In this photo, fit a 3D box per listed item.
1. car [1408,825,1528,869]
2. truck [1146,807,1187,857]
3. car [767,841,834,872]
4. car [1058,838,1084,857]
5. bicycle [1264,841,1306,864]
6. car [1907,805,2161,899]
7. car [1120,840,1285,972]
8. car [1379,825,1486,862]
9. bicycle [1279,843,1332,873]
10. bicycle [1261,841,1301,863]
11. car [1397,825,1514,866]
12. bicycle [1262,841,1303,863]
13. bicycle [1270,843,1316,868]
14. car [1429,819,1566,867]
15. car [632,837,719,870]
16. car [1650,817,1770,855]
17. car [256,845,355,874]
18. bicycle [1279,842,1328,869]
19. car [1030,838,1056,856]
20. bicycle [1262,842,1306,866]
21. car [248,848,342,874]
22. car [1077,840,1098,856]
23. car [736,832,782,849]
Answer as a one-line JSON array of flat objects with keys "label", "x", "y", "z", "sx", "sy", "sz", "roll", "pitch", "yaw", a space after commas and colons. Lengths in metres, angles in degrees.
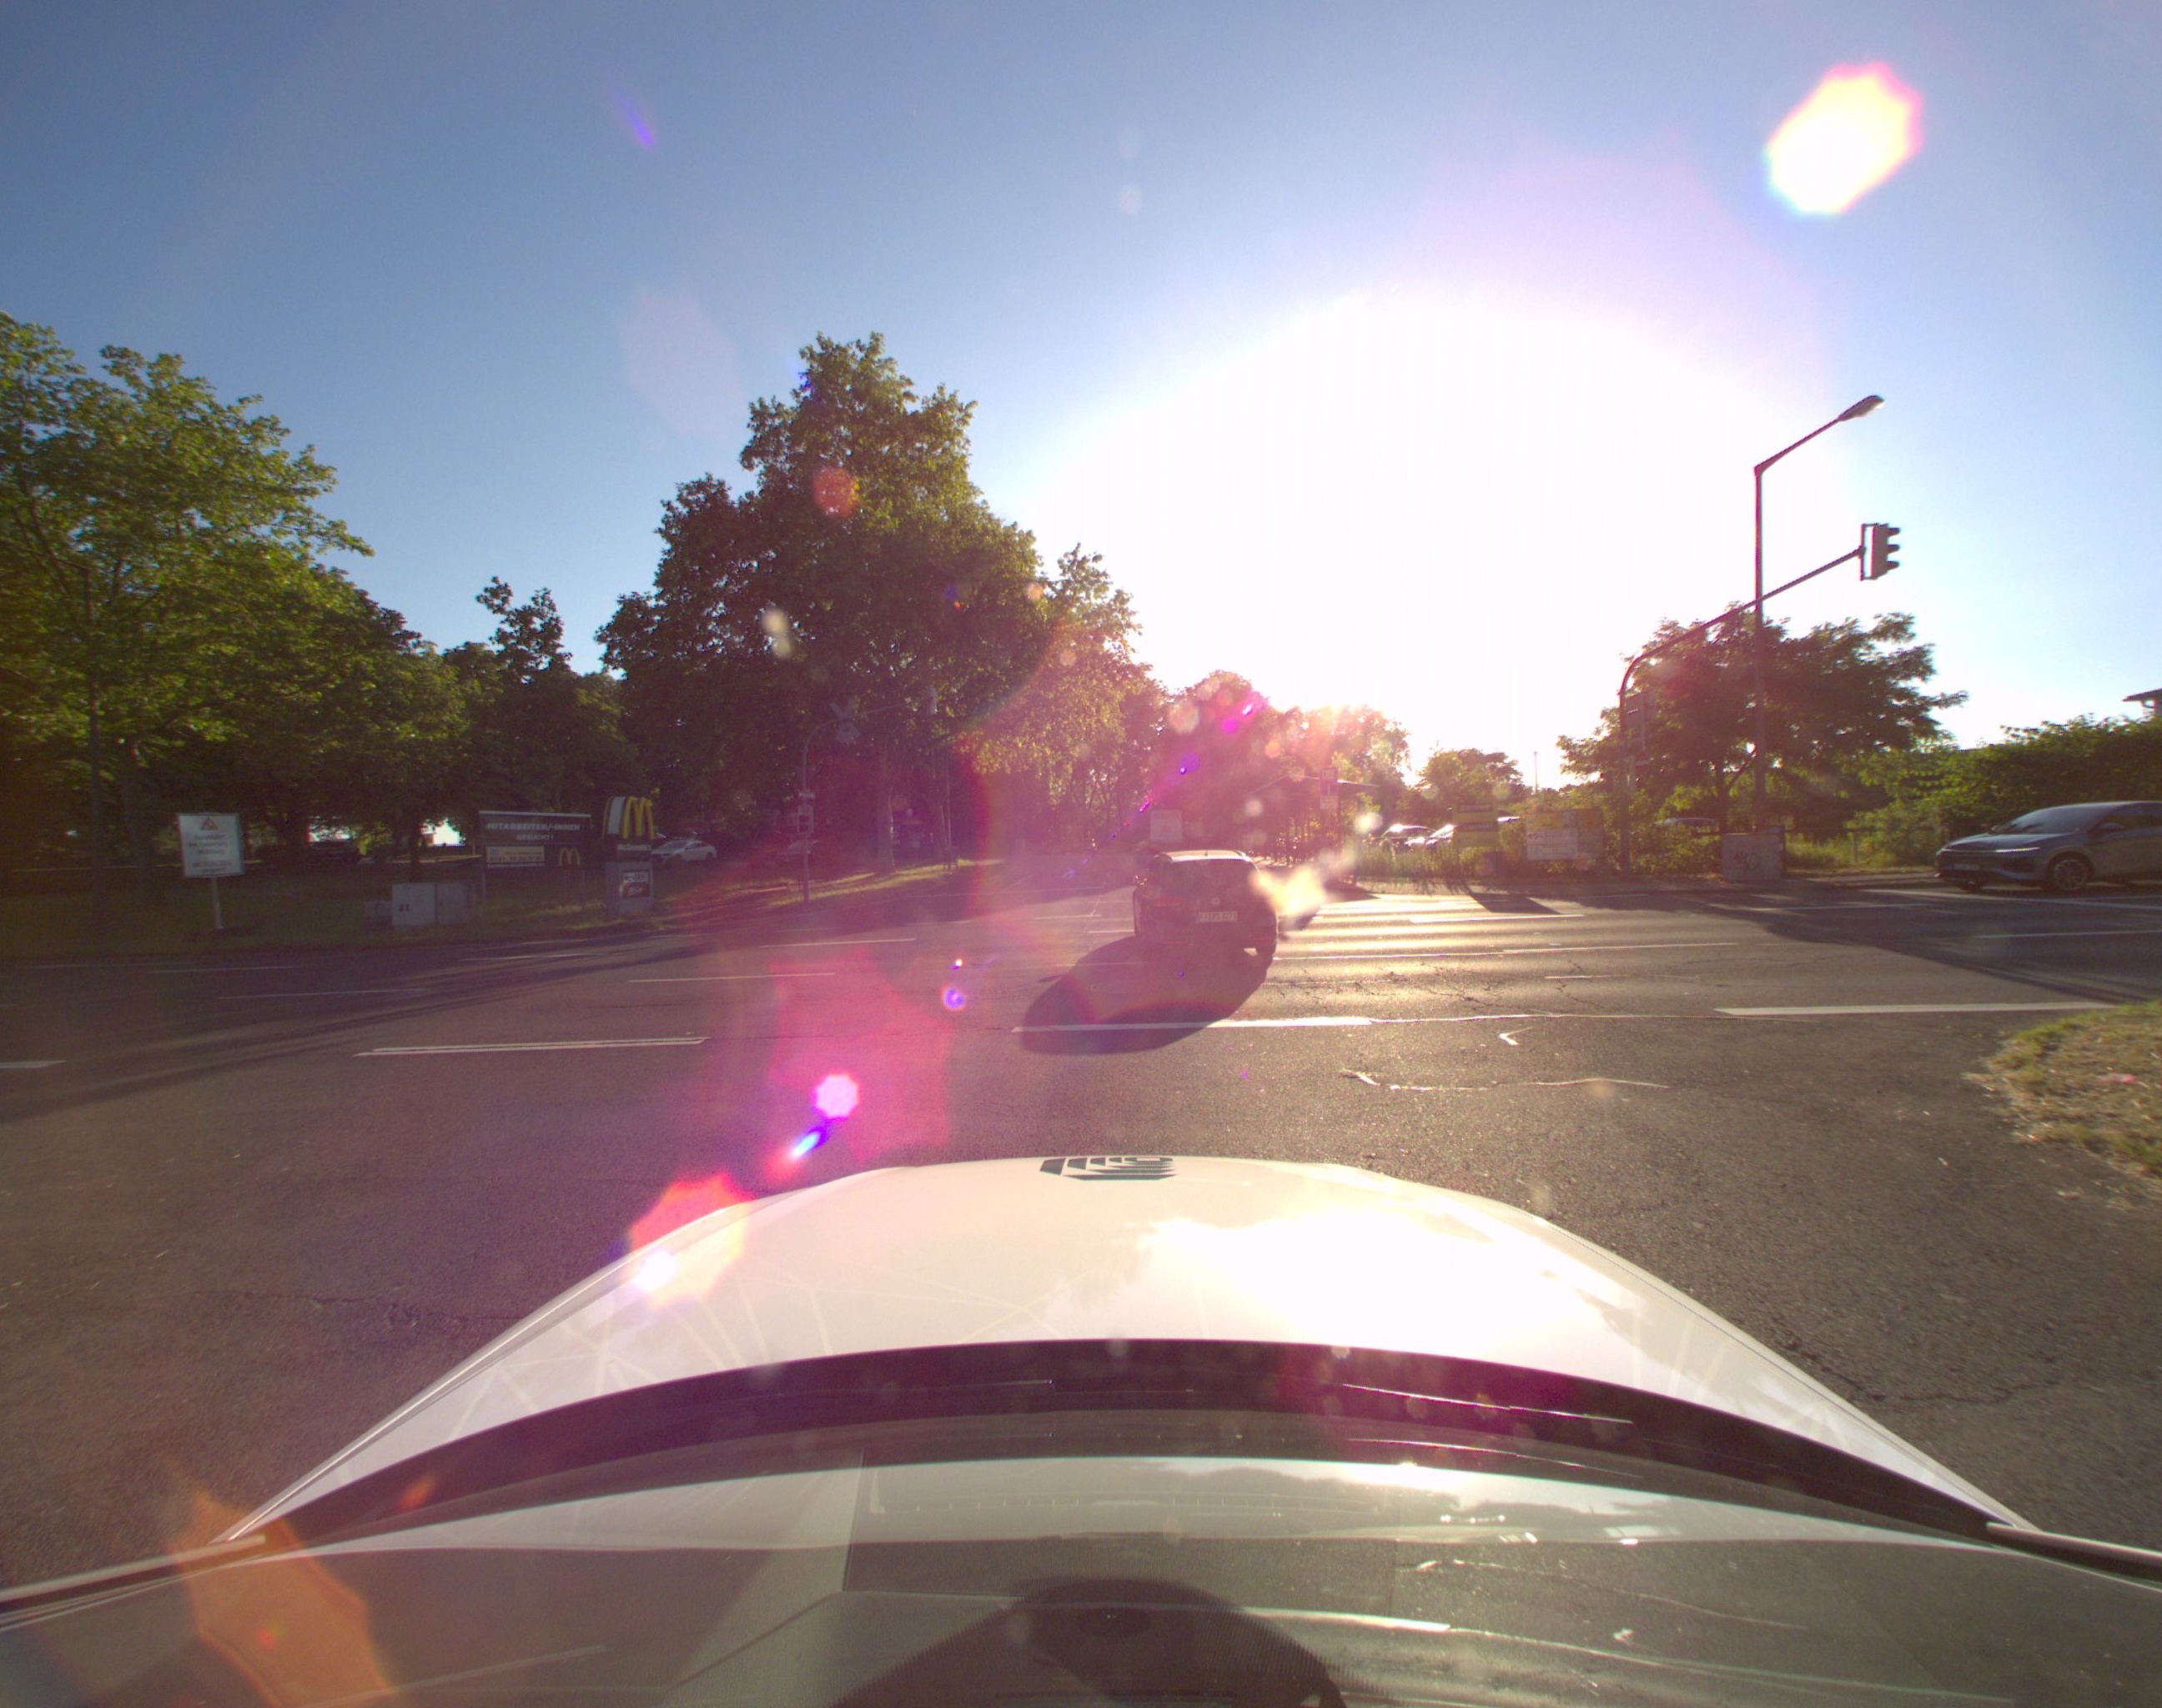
[{"label": "car", "x": 15.919, "y": -0.311, "z": 33.664, "sx": 3.971, "sy": 1.648, "sz": 2.122, "roll": -2, "pitch": 1, "yaw": 2}, {"label": "truck", "x": 7.385, "y": -1.894, "z": 69.806, "sx": 3.168, "sy": 3.875, "sz": 11.121, "roll": -2, "pitch": 1, "yaw": 7}, {"label": "car", "x": -16.038, "y": 0.113, "z": 46.815, "sx": 2.028, "sy": 1.574, "sz": 4.408, "roll": -2, "pitch": 1, "yaw": 4}, {"label": "car", "x": -0.866, "y": -0.605, "z": 73.691, "sx": 1.837, "sy": 1.552, "sz": 4.006, "roll": -2, "pitch": 1, "yaw": 5}, {"label": "bicycle", "x": 9.784, "y": -0.088, "z": 39.060, "sx": 1.877, "sy": 1.038, "sz": 0.545, "roll": -2, "pitch": 1, "yaw": 8}, {"label": "car", "x": 19.242, "y": -0.084, "z": 15.750, "sx": 4.514, "sy": 1.618, "sz": 1.878, "roll": -2, "pitch": 1, "yaw": 2}, {"label": "car", "x": 1.603, "y": 0.604, "z": 12.174, "sx": 1.819, "sy": 1.555, "sz": 4.259, "roll": -2, "pitch": 1, "yaw": 0}, {"label": "car", "x": 16.957, "y": -0.514, "z": 39.425, "sx": 4.289, "sy": 1.648, "sz": 2.122, "roll": -2, "pitch": 1, "yaw": 2}, {"label": "bicycle", "x": 8.605, "y": 0.151, "z": 31.247, "sx": 1.879, "sy": 1.038, "sz": 0.545, "roll": -2, "pitch": 1, "yaw": 4}, {"label": "bicycle", "x": 10.123, "y": -0.113, "z": 41.244, "sx": 1.877, "sy": 1.038, "sz": 0.545, "roll": -2, "pitch": 1, "yaw": 8}, {"label": "car", "x": 16.642, "y": -0.378, "z": 36.352, "sx": 4.289, "sy": 1.648, "sz": 2.122, "roll": -2, "pitch": 1, "yaw": 2}, {"label": "bicycle", "x": 9.891, "y": -0.102, "z": 39.939, "sx": 1.877, "sy": 1.038, "sz": 0.545, "roll": -2, "pitch": 1, "yaw": 8}, {"label": "bicycle", "x": 9.420, "y": 0.050, "z": 36.232, "sx": 1.879, "sy": 1.038, "sz": 0.545, "roll": -2, "pitch": 1, "yaw": 4}, {"label": "car", "x": 16.014, "y": -0.444, "z": 31.499, "sx": 4.197, "sy": 1.648, "sz": 2.122, "roll": -2, "pitch": 1, "yaw": 2}, {"label": "car", "x": -23.477, "y": -0.075, "z": 47.446, "sx": 1.982, "sy": 1.706, "sz": 4.913, "roll": -2, "pitch": 1, "yaw": 9}, {"label": "car", "x": 29.571, "y": -0.831, "z": 38.409, "sx": 3.960, "sy": 1.636, "sz": 2.128, "roll": -1, "pitch": 1, "yaw": 12}, {"label": "car", "x": -46.660, "y": 0.324, "z": 49.115, "sx": 1.791, "sy": 1.552, "sz": 4.011, "roll": -2, "pitch": 1, "yaw": 10}, {"label": "bicycle", "x": 9.287, "y": 0.074, "z": 33.995, "sx": 1.879, "sy": 1.038, "sz": 0.545, "roll": -2, "pitch": 1, "yaw": 4}, {"label": "car", "x": -3.547, "y": -0.670, "z": 76.129, "sx": 1.837, "sy": 1.552, "sz": 4.006, "roll": -2, "pitch": 1, "yaw": 5}, {"label": "bicycle", "x": 9.236, "y": -0.003, "z": 37.103, "sx": 1.879, "sy": 1.038, "sz": 0.545, "roll": -2, "pitch": 1, "yaw": 4}, {"label": "car", "x": -51.770, "y": 0.428, "z": 53.714, "sx": 1.787, "sy": 1.552, "sz": 4.020, "roll": -2, "pitch": 1, "yaw": 19}, {"label": "car", "x": 0.665, "y": -0.669, "z": 85.371, "sx": 1.837, "sy": 1.552, "sz": 4.006, "roll": -2, "pitch": 1, "yaw": 5}, {"label": "car", "x": -32.008, "y": -1.374, "z": 81.029, "sx": 3.995, "sy": 1.552, "sz": 1.798, "roll": -2, "pitch": 1, "yaw": -16}]
